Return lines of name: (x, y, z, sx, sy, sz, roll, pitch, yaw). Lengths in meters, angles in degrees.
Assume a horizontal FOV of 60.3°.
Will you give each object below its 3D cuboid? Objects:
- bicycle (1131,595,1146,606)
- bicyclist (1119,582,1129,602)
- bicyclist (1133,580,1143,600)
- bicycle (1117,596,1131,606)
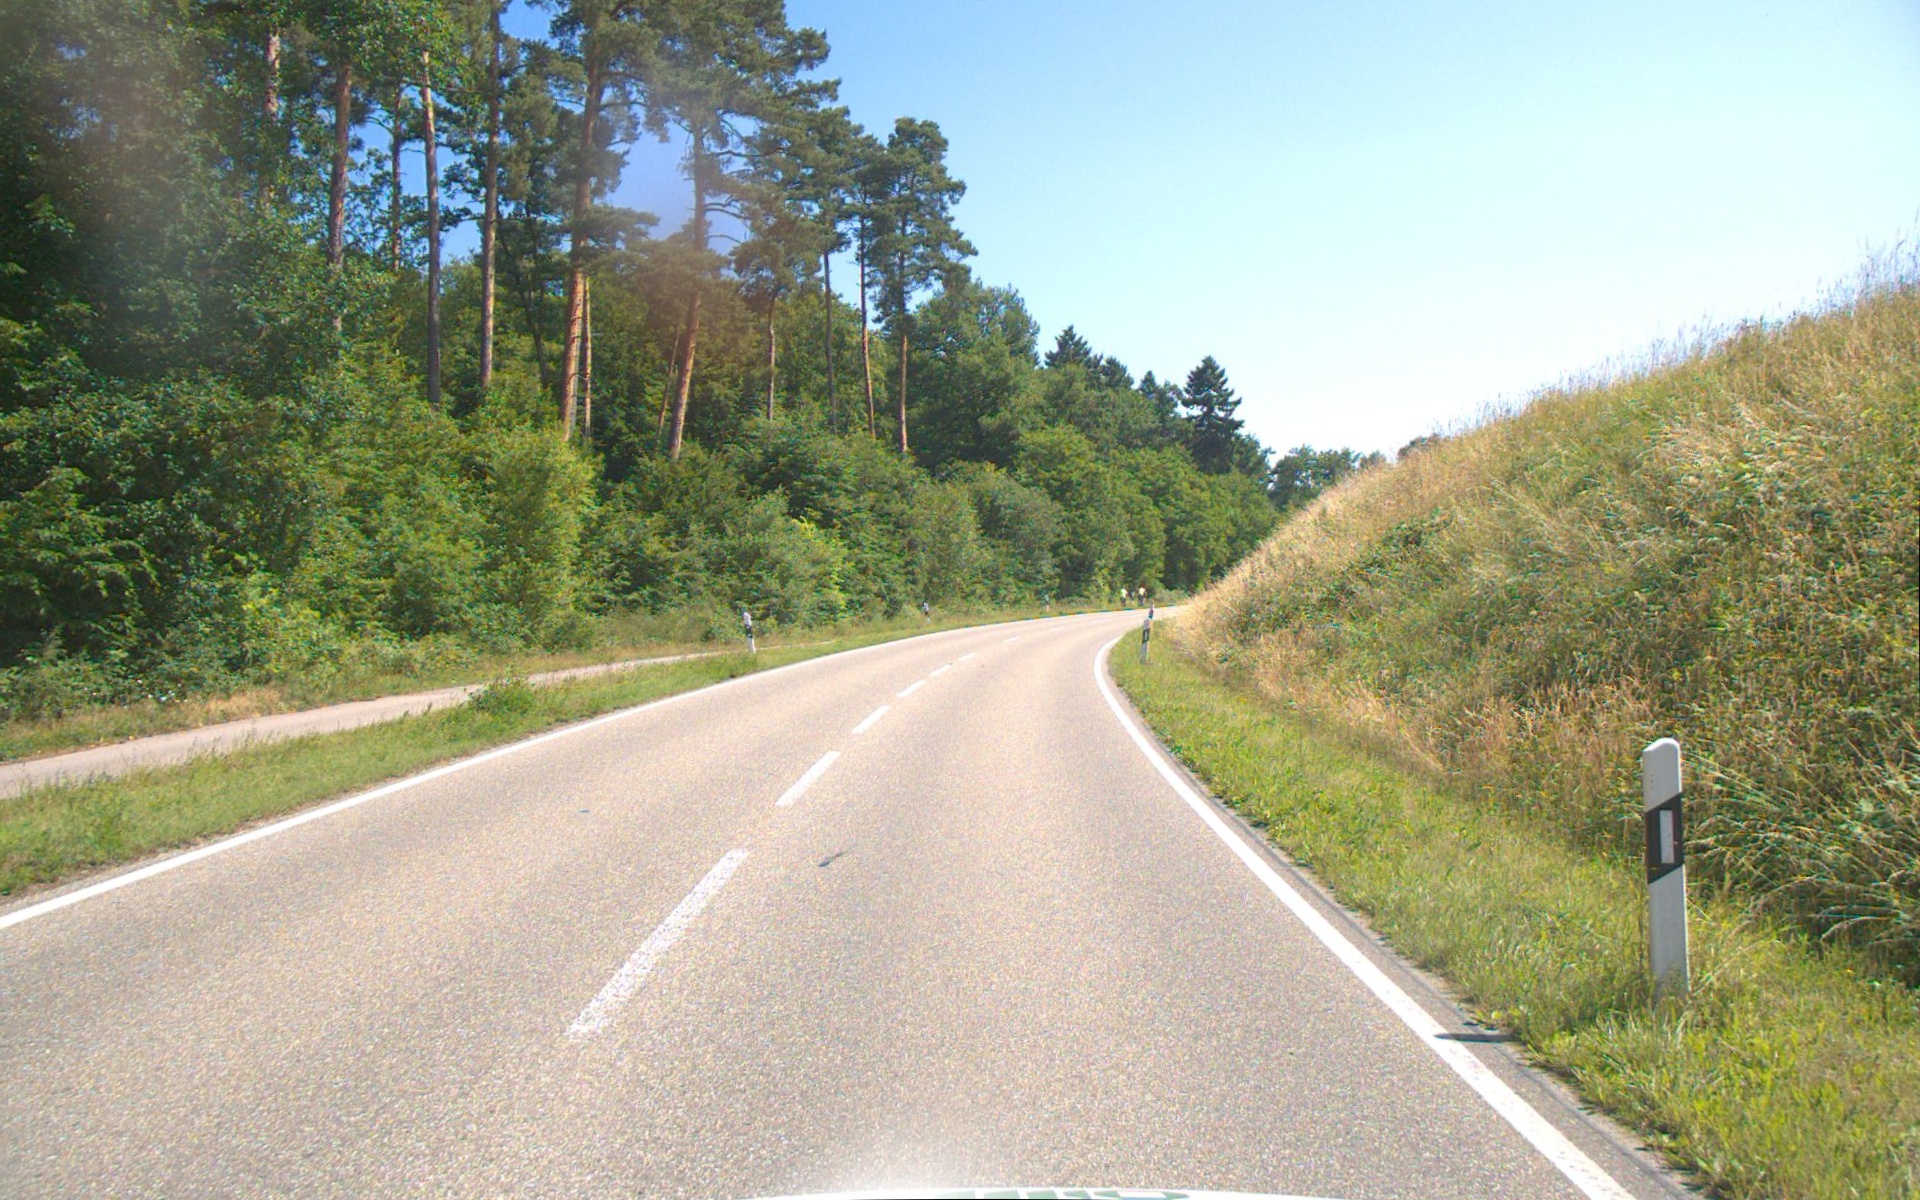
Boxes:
bicycle: (13.012, 0.033, 120.762, 0.626, 0.802, 2.138, -1, 0, 18)
bicyclist: (12.067, -0.583, 121.715, 0.592, 1.440, 0.703, -1, 0, 18)
bicyclist: (13.031, -0.712, 120.798, 0.592, 1.440, 0.703, 0, 1, 18)
bicycle: (12.095, 0.034, 121.815, 0.606, 0.693, 2.138, -1, 0, 18)
